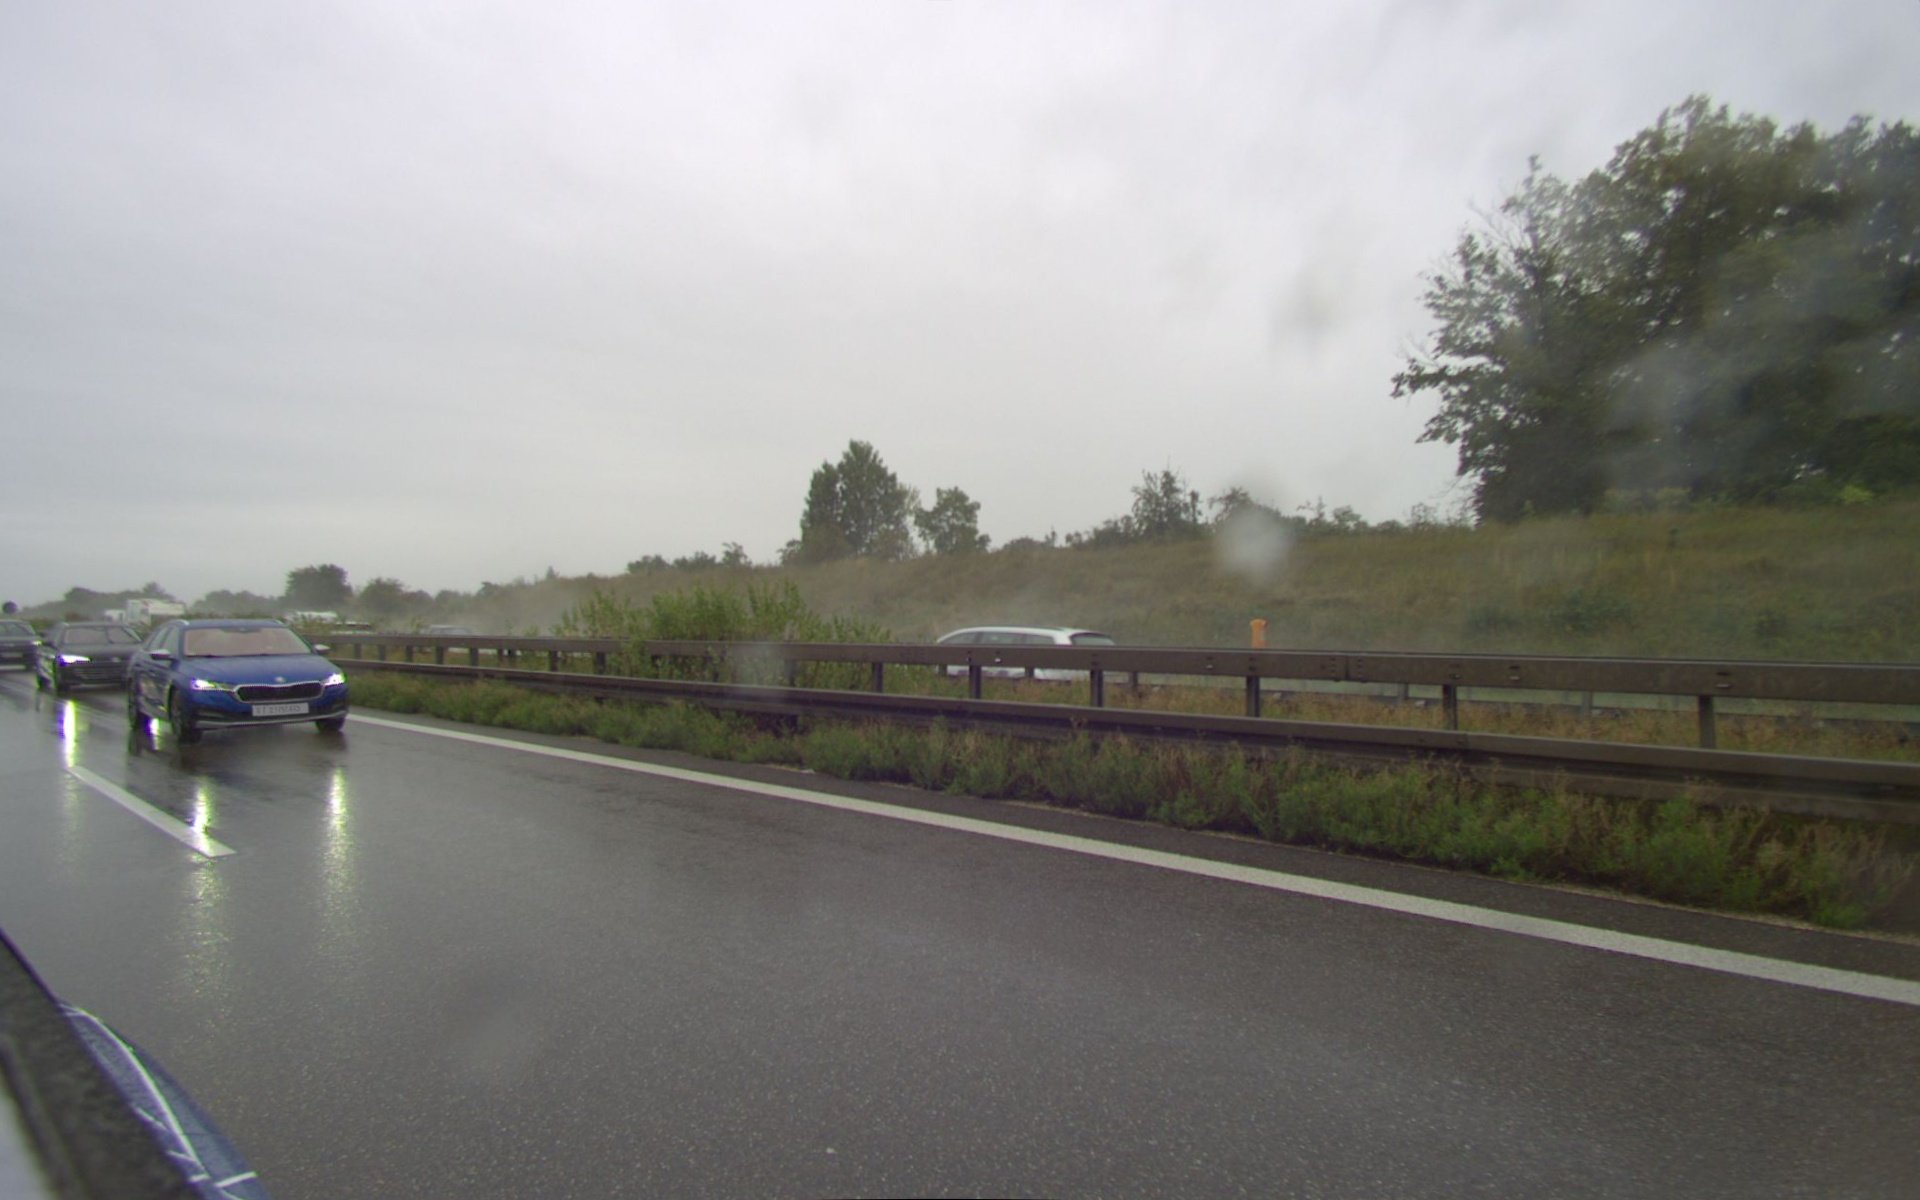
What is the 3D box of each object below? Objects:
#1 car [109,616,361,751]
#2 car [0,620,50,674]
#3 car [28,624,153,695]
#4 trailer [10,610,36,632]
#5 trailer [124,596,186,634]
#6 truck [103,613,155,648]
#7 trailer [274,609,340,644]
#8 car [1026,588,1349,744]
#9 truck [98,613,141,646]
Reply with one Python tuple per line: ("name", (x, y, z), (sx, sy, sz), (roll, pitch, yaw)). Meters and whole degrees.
("car", (-9.717, 0.988, 13.424), (4.510, 1.487, 1.767), (-2, -1, 42))
("car", (-31.080, 1.499, 32.790), (4.267, 1.644, 1.864), (-2, -1, 41))
("car", (-19.828, 1.297, 23.016), (4.369, 1.447, 1.592), (-2, -1, 42))
("trailer", (-141.605, 3.182, 152.880), (8.868, 3.105, 1.972), (-2, -1, 42))
("trailer", (-60.332, 1.084, 75.777), (7.323, 2.740, 2.454), (0, -2, 43))
("truck", (-83.896, 3.034, 102.102), (9.345, 3.323, 2.528), (0, -2, 42))
("trailer", (-41.448, 1.664, 64.215), (5.347, 2.029, 2.070), (0, -2, 41))
("car", (3.035, 0.796, 13.982), (3.997, 1.740, 1.633), (3, 0, 40))
("truck", (-87.279, 3.054, 105.081), (5.195, 3.305, 2.515), (0, -3, 41))
